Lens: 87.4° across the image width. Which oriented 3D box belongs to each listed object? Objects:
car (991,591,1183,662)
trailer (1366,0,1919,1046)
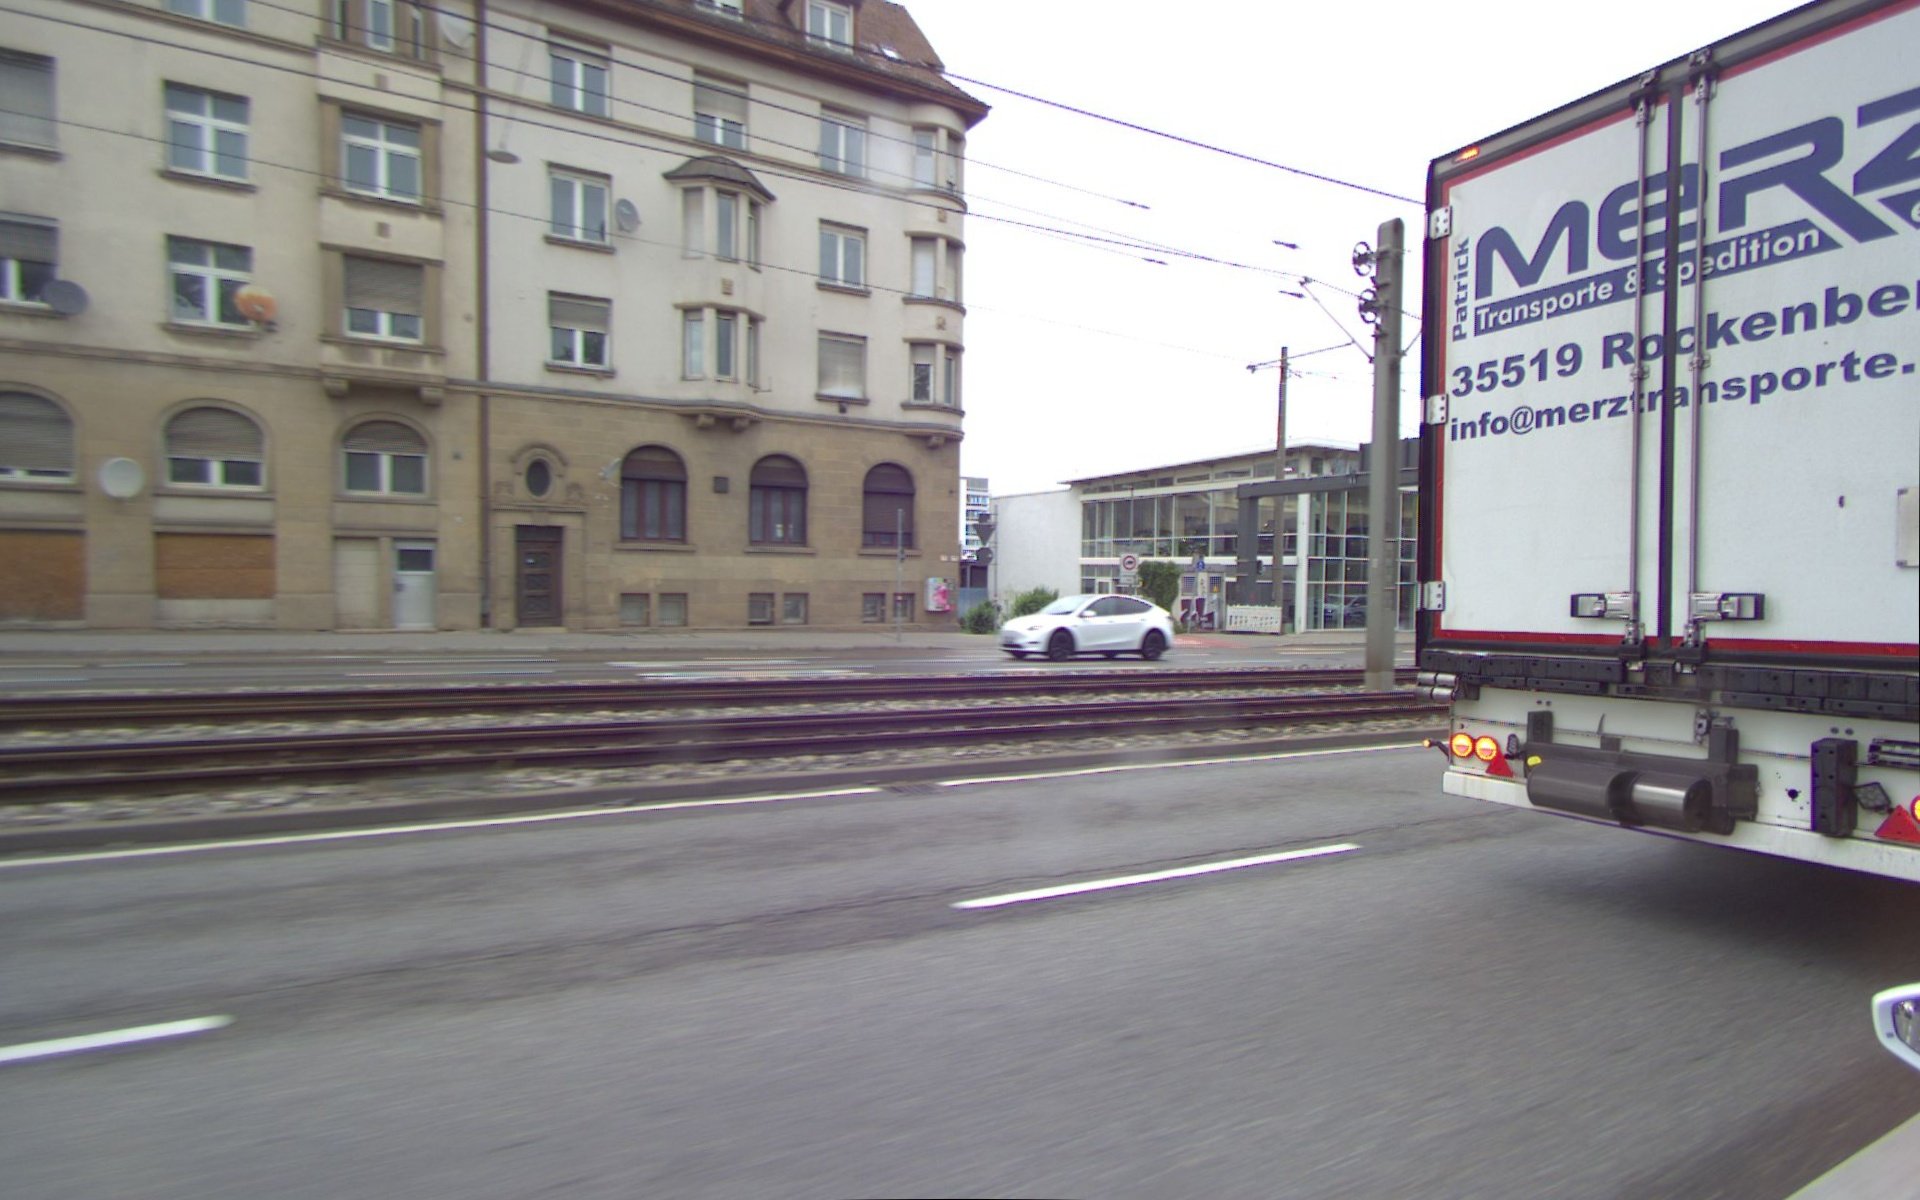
[{"bbox_3d":[3.198,0.649,24.818,4.689,1.613,1.712,1,-1,-31],"label":"car"},{"bbox_3d":[8.646,-0.407,7.912,13.028,4.309,2.749,1,-1,-31],"label":"trailer"}]
